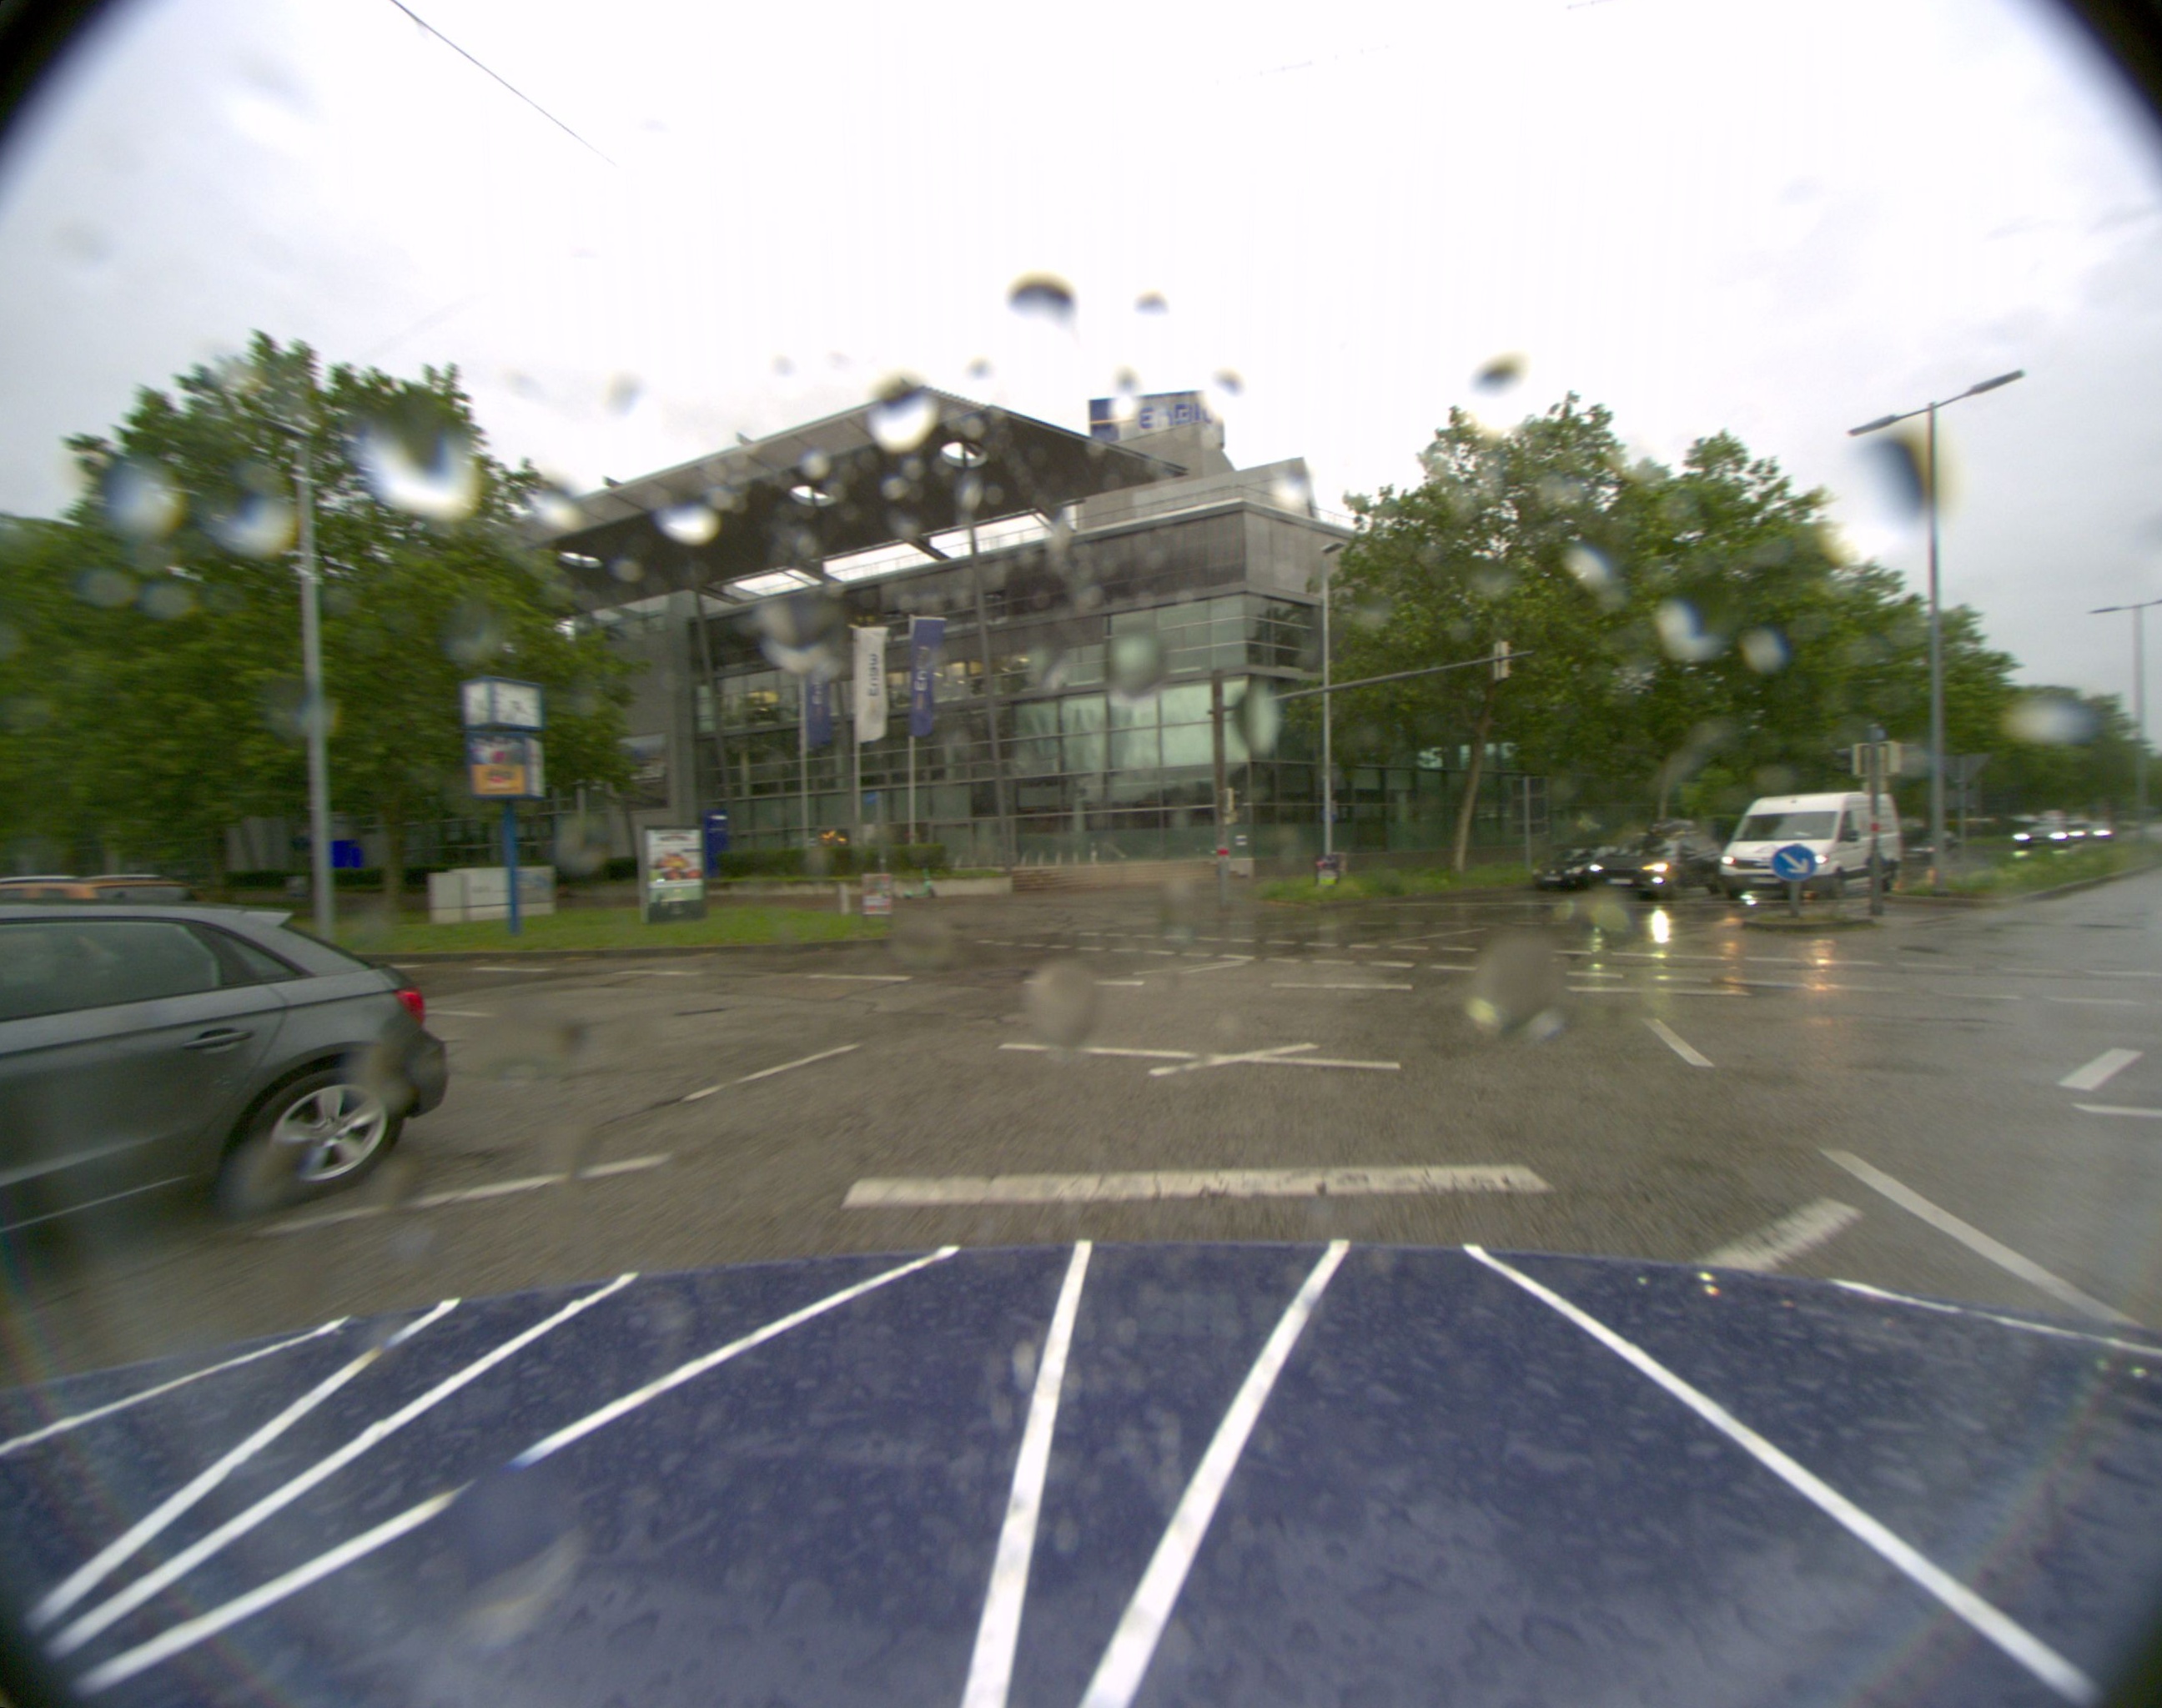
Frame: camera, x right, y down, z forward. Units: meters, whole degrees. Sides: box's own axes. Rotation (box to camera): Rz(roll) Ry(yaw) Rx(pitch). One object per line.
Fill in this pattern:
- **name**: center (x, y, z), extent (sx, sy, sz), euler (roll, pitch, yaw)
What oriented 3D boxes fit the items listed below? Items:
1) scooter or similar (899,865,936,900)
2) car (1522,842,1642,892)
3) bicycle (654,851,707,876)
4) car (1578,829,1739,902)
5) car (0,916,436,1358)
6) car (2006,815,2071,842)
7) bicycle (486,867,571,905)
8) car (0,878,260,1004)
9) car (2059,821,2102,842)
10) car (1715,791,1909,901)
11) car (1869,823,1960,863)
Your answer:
- **scooter or similar**: center (-5.453, 0.954, 25.352), extent (1.172, 1.132, 0.341), euler (-1, 2, 19)
- **car**: center (16.454, 0.383, 24.927), extent (4.006, 1.428, 1.799), euler (-2, 1, -33)
- **bicycle**: center (-23.173, 0.500, 44.077), extent (1.191, 1.324, 3.694), euler (-2, 1, -2)
- **car**: center (15.576, 0.246, 20.459), extent (4.334, 1.738, 1.995), euler (-2, 1, -31)
- **car**: center (-4.764, 1.063, 2.344), extent (1.838, 1.390, 3.759), euler (-3, 0, 20)
- **car**: center (60.386, -1.582, 47.910), extent (3.930, 1.576, 1.905), euler (-2, 1, -29)
- **bicycle**: center (-22.852, 1.307, 31.500), extent (2.675, 1.434, 0.805), euler (-3, 0, -21)
- **car**: center (-15.620, 1.283, 11.572), extent (4.166, 1.622, 1.906), euler (-2, 1, 2)
- **car**: center (77.298, -1.751, 58.744), extent (3.931, 1.514, 1.578), euler (-2, 2, -31)
- **car**: center (18.475, -0.275, 19.106), extent (5.970, 2.420, 1.965), euler (-2, 1, -30)
- **car**: center (37.367, -0.507, 34.045), extent (4.005, 1.674, 1.864), euler (-2, 1, -29)
